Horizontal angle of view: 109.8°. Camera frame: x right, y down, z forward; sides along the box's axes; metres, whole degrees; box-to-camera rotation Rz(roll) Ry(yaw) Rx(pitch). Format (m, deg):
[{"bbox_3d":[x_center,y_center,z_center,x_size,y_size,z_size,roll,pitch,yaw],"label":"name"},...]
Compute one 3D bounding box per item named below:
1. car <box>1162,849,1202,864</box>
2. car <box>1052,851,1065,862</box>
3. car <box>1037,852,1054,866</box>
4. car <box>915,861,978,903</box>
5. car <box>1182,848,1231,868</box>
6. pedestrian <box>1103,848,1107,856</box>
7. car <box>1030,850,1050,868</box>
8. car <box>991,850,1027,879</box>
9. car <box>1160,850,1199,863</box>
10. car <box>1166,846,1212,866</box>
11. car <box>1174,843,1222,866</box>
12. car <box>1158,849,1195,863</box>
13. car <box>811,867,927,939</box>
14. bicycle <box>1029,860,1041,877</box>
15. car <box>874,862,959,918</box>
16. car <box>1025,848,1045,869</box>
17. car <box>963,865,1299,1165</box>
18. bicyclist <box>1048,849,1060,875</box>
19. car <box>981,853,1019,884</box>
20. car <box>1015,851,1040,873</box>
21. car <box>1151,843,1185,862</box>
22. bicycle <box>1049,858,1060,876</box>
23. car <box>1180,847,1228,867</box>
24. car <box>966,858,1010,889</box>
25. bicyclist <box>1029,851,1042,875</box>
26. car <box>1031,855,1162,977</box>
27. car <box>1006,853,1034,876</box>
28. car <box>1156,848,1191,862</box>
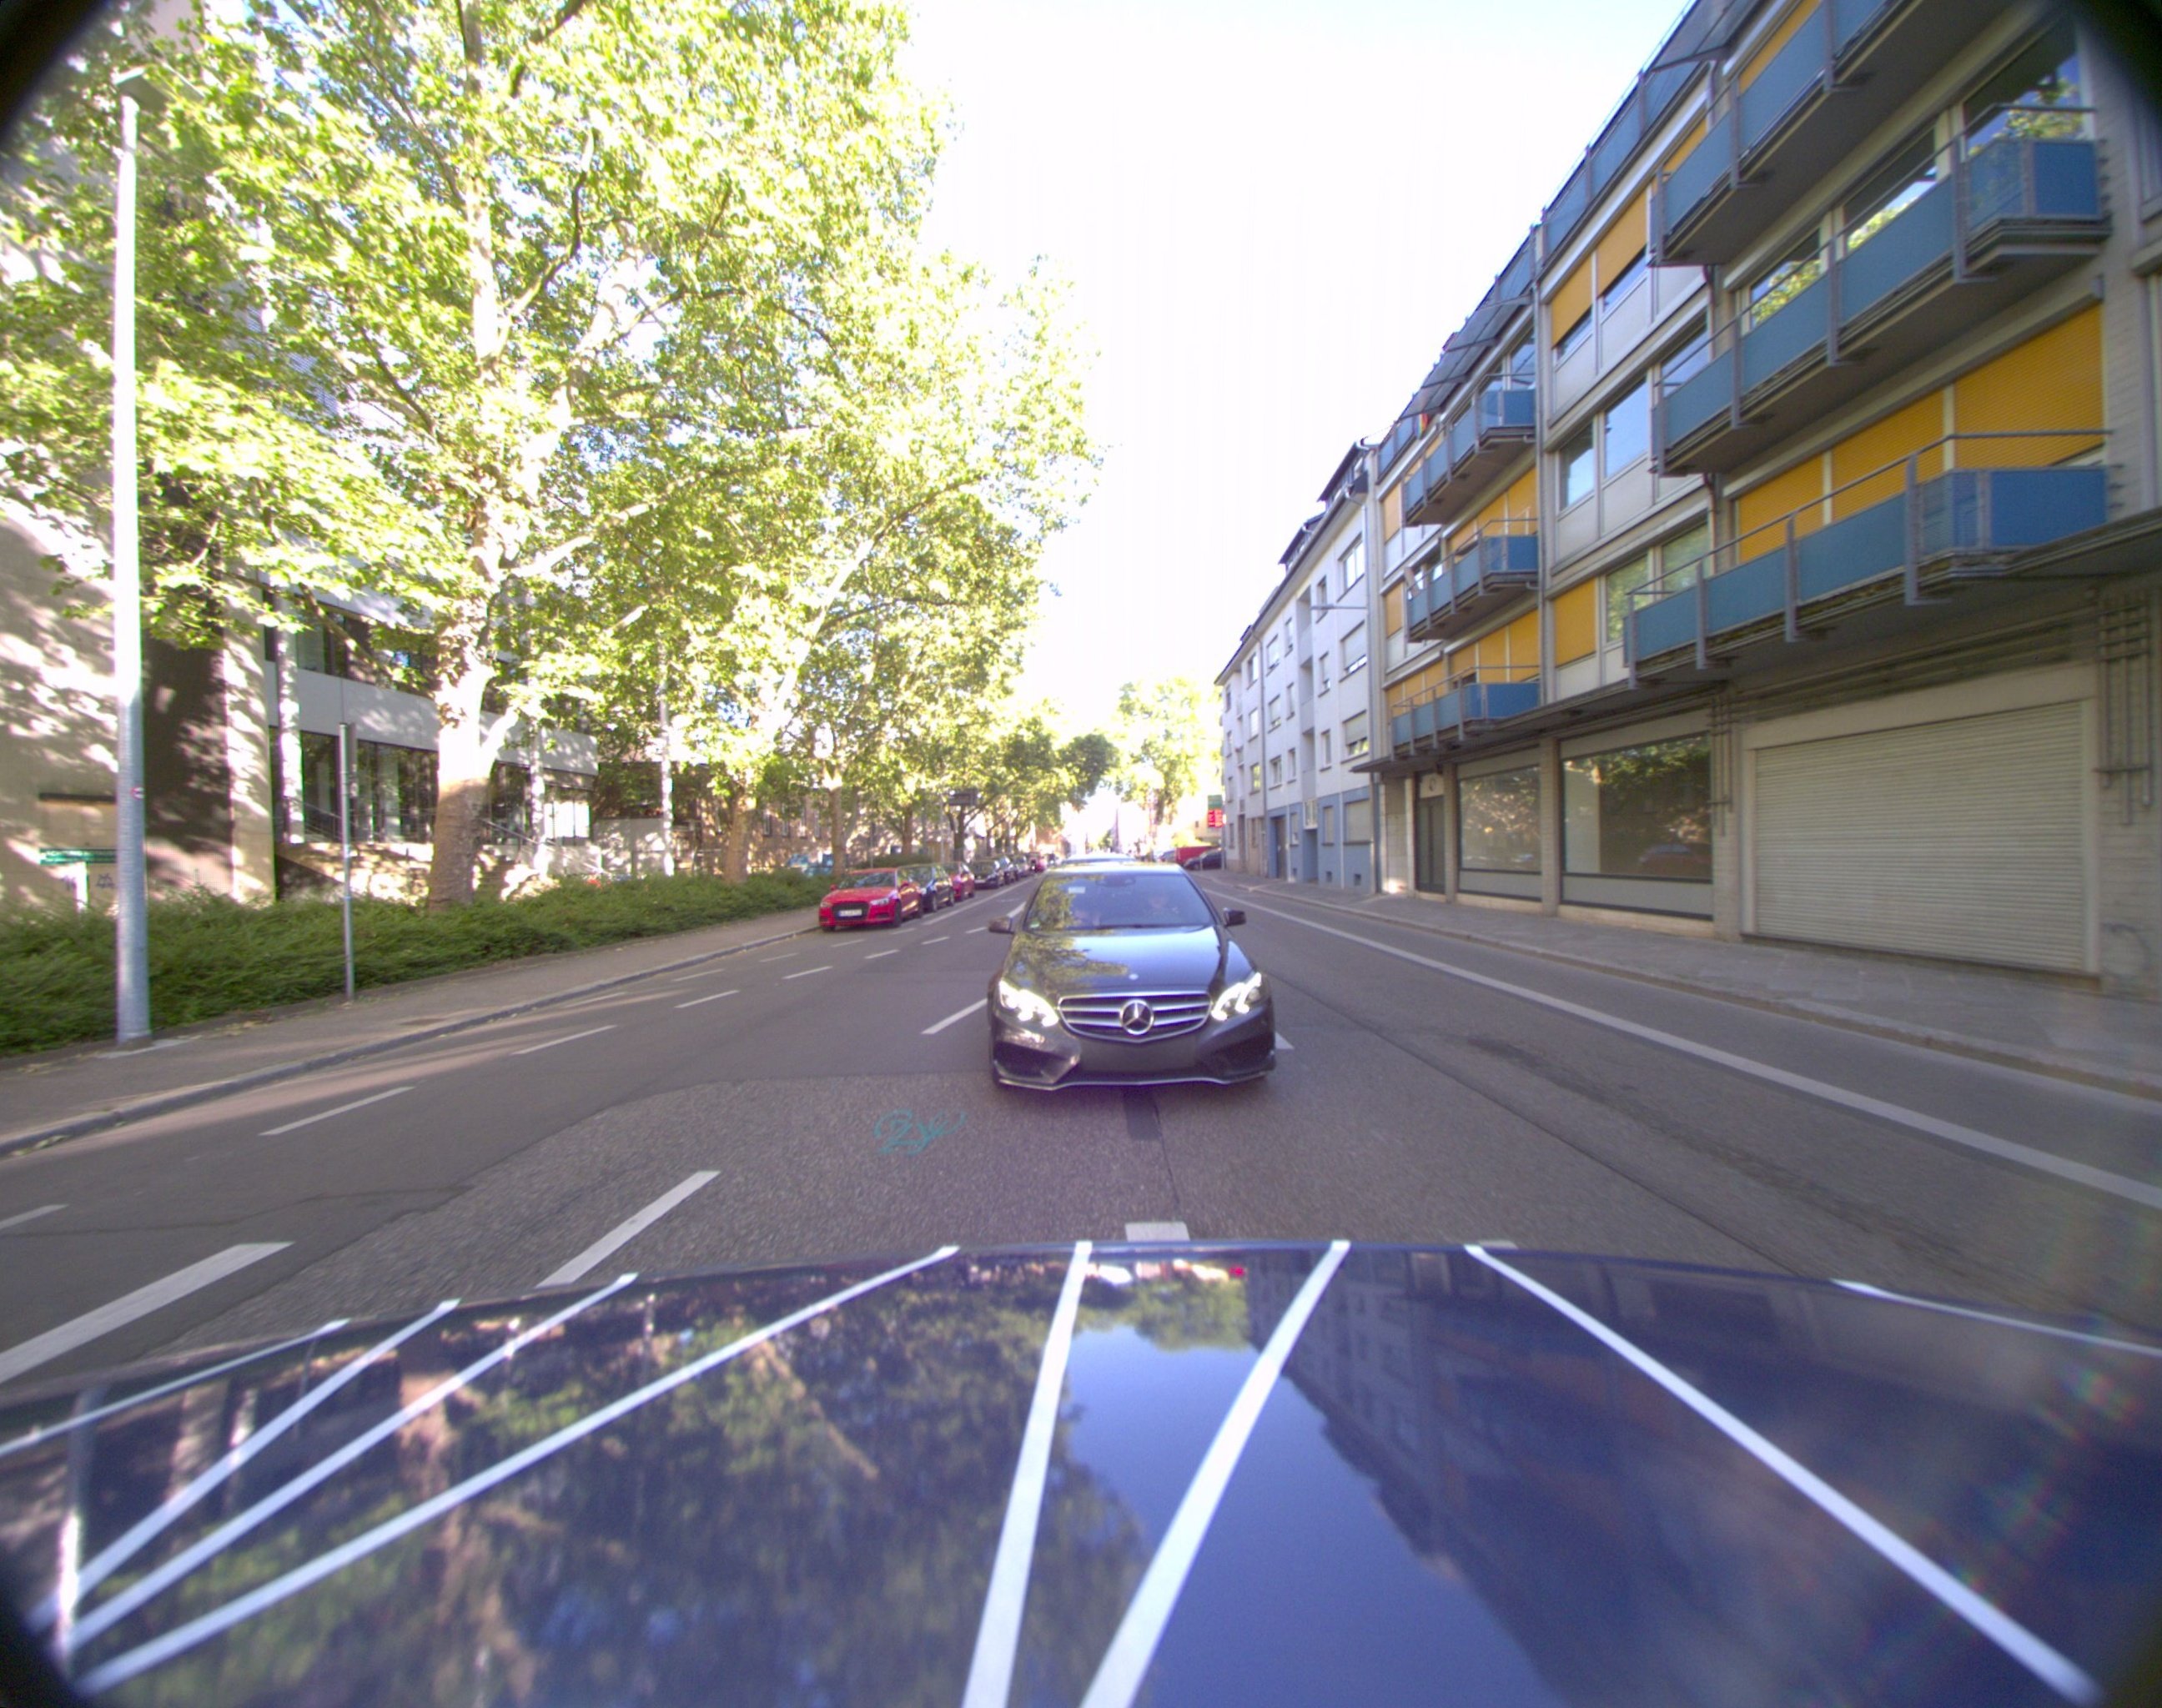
[{"bbox_3d":[10.353,0.267,78.312,3.905,1.366,1.594,-2,1,2],"label":"car"},{"bbox_3d":[-3.203,0.409,108.142,1.686,1.475,3.836,-2,0,0],"label":"car"},{"bbox_3d":[-4.112,0.543,88.376,1.639,1.493,3.752,-2,0,0],"label":"car"},{"bbox_3d":[-5.023,1.012,28.919,1.666,1.426,3.781,-2,0,0],"label":"car"},{"bbox_3d":[9.923,0.333,60.055,3.598,1.401,1.534,-2,0,2],"label":"car"},{"bbox_3d":[6.155,-0.526,192.754,0.884,2.108,0.821,-2,1,1],"label":"pedestrian"},{"bbox_3d":[-4.149,0.456,77.331,1.686,1.749,3.836,-2,0,0],"label":"car"},{"bbox_3d":[-4.624,0.648,49.504,1.819,1.758,4.431,-2,0,0],"label":"car"},{"bbox_3d":[10.467,0.261,81.067,3.905,1.325,1.525,-2,1,2],"label":"car"},{"bbox_3d":[9.672,0.189,68.099,3.905,1.577,1.603,-2,1,2],"label":"car"},{"bbox_3d":[10.033,0.030,65.304,3.905,1.895,1.749,-2,1,2],"label":"car"},{"bbox_3d":[10.474,0.229,83.455,3.905,1.325,1.525,-2,1,2],"label":"car"},{"bbox_3d":[-5.137,1.127,18.976,1.724,1.412,4.030,-4,0,-1],"label":"car"},{"bbox_3d":[-3.034,0.955,50.541,0.667,1.093,1.814,-2,1,0],"label":"bicycle"},{"bbox_3d":[-5.022,1.057,23.734,1.686,1.458,4.000,-3,0,0],"label":"car"},{"bbox_3d":[-4.298,0.422,71.540,1.646,1.839,3.836,-2,0,0],"label":"car"},{"bbox_3d":[0.273,0.931,6.389,1.828,1.495,4.293,-2,1,0],"label":"car"},{"bbox_3d":[-1.812,0.533,50.787,0.756,1.714,0.768,-2,1,-1],"label":"bicyclist"},{"bbox_3d":[-4.562,0.797,43.378,1.686,1.610,3.836,-2,0,0],"label":"car"},{"bbox_3d":[-4.255,0.607,60.683,1.663,1.704,3.836,-2,0,0],"label":"car"},{"bbox_3d":[10.341,-0.162,90.632,3.905,2.164,1.725,-2,1,2],"label":"car"},{"bbox_3d":[-1.770,0.876,50.712,0.667,1.093,1.814,-2,1,0],"label":"bicycle"},{"bbox_3d":[10.090,0.228,62.460,3.668,1.501,1.602,-2,1,2],"label":"car"},{"bbox_3d":[-4.687,0.946,38.719,1.686,1.443,4.000,-2,0,0],"label":"car"},{"bbox_3d":[-3.047,0.599,50.525,0.756,1.512,0.768,-2,1,-1],"label":"bicyclist"},{"bbox_3d":[0.207,0.845,12.500,1.732,1.538,4.293,-2,1,0],"label":"car"},{"bbox_3d":[-4.460,0.739,55.827,1.686,1.553,3.868,-2,0,0],"label":"car"},{"bbox_3d":[10.484,0.156,86.140,3.782,1.432,1.539,-2,1,2],"label":"car"}]
